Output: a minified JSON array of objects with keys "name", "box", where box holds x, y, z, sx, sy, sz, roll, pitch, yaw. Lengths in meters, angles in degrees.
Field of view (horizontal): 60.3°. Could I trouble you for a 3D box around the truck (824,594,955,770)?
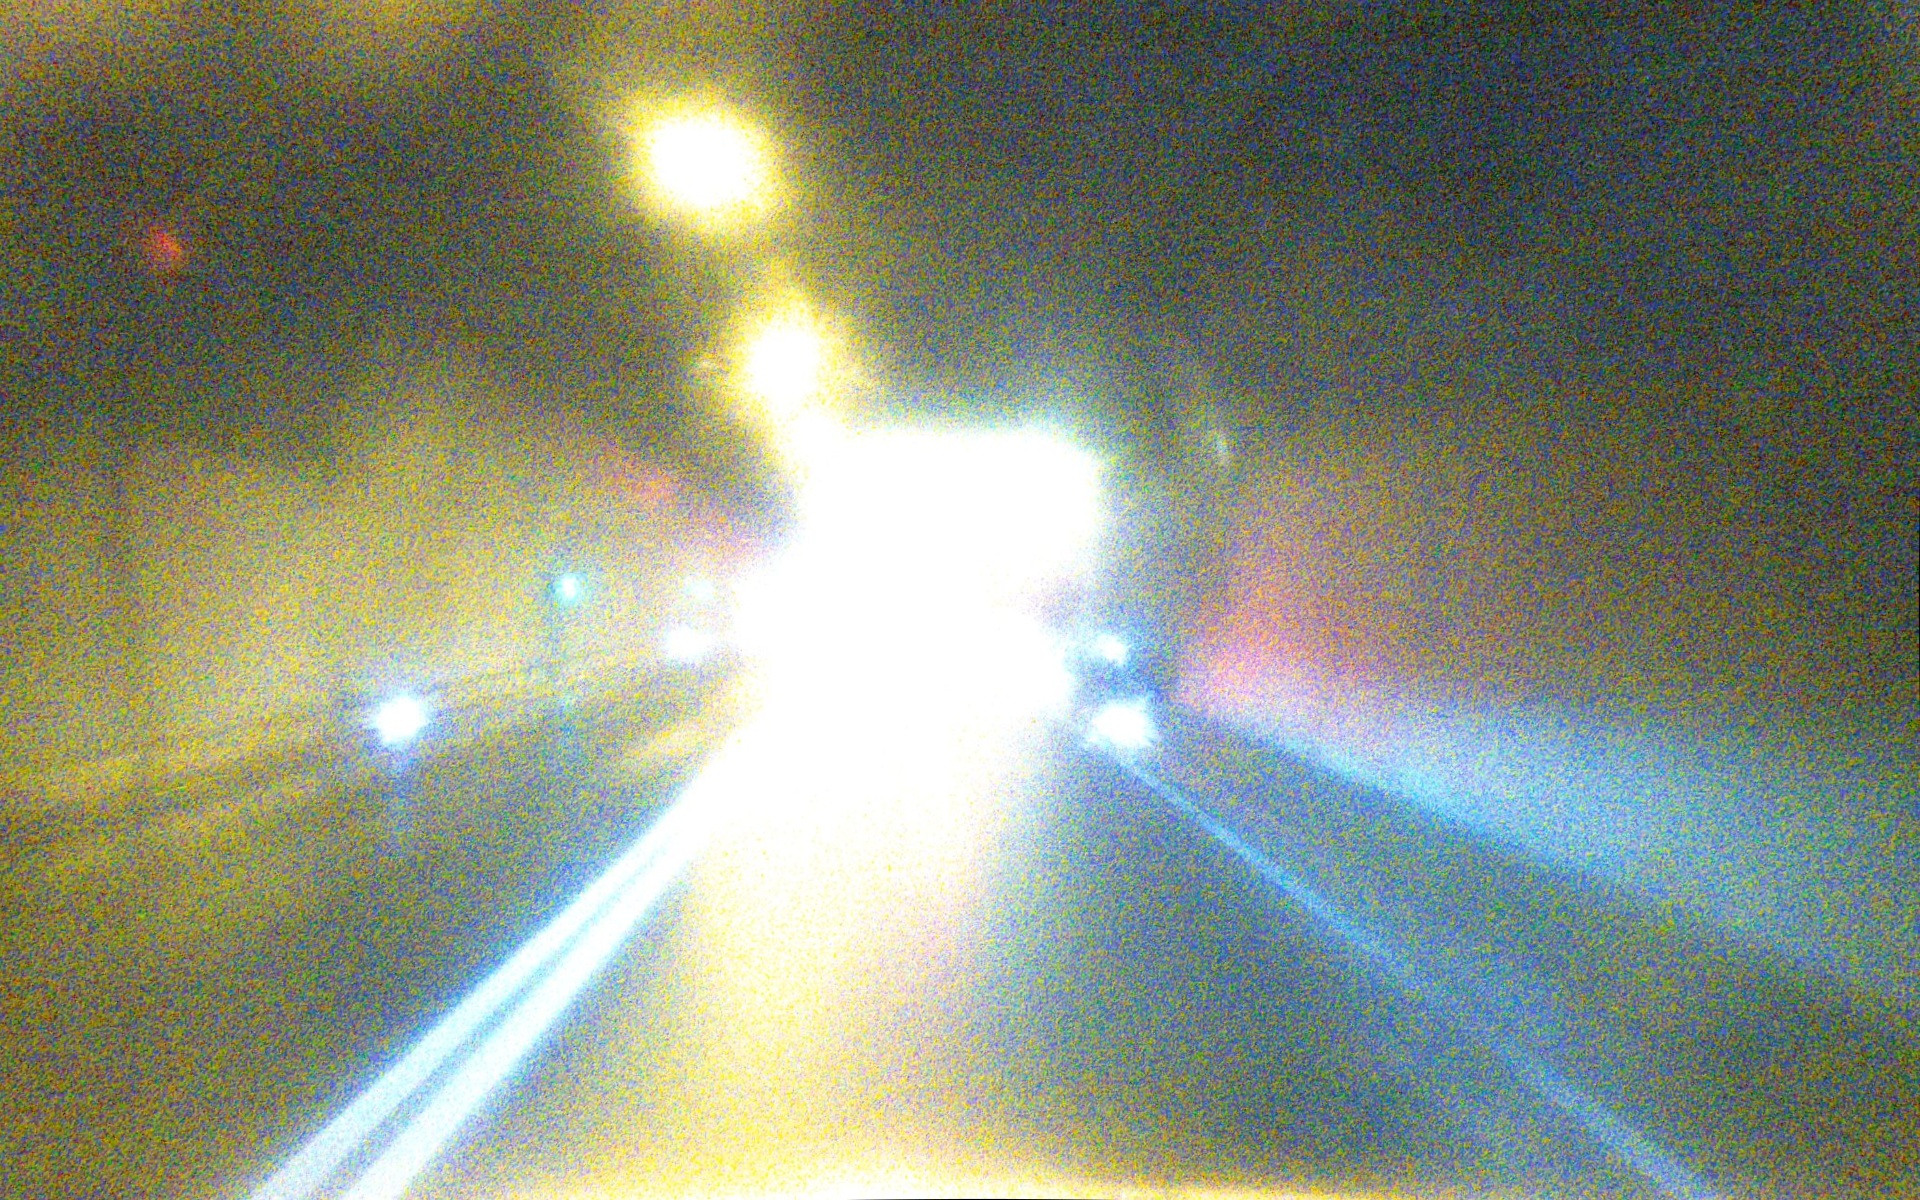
[{"name":"truck","box":[-1.437,1.457,33.167,2.217,3.063,7.410,2,0,-3]}]
